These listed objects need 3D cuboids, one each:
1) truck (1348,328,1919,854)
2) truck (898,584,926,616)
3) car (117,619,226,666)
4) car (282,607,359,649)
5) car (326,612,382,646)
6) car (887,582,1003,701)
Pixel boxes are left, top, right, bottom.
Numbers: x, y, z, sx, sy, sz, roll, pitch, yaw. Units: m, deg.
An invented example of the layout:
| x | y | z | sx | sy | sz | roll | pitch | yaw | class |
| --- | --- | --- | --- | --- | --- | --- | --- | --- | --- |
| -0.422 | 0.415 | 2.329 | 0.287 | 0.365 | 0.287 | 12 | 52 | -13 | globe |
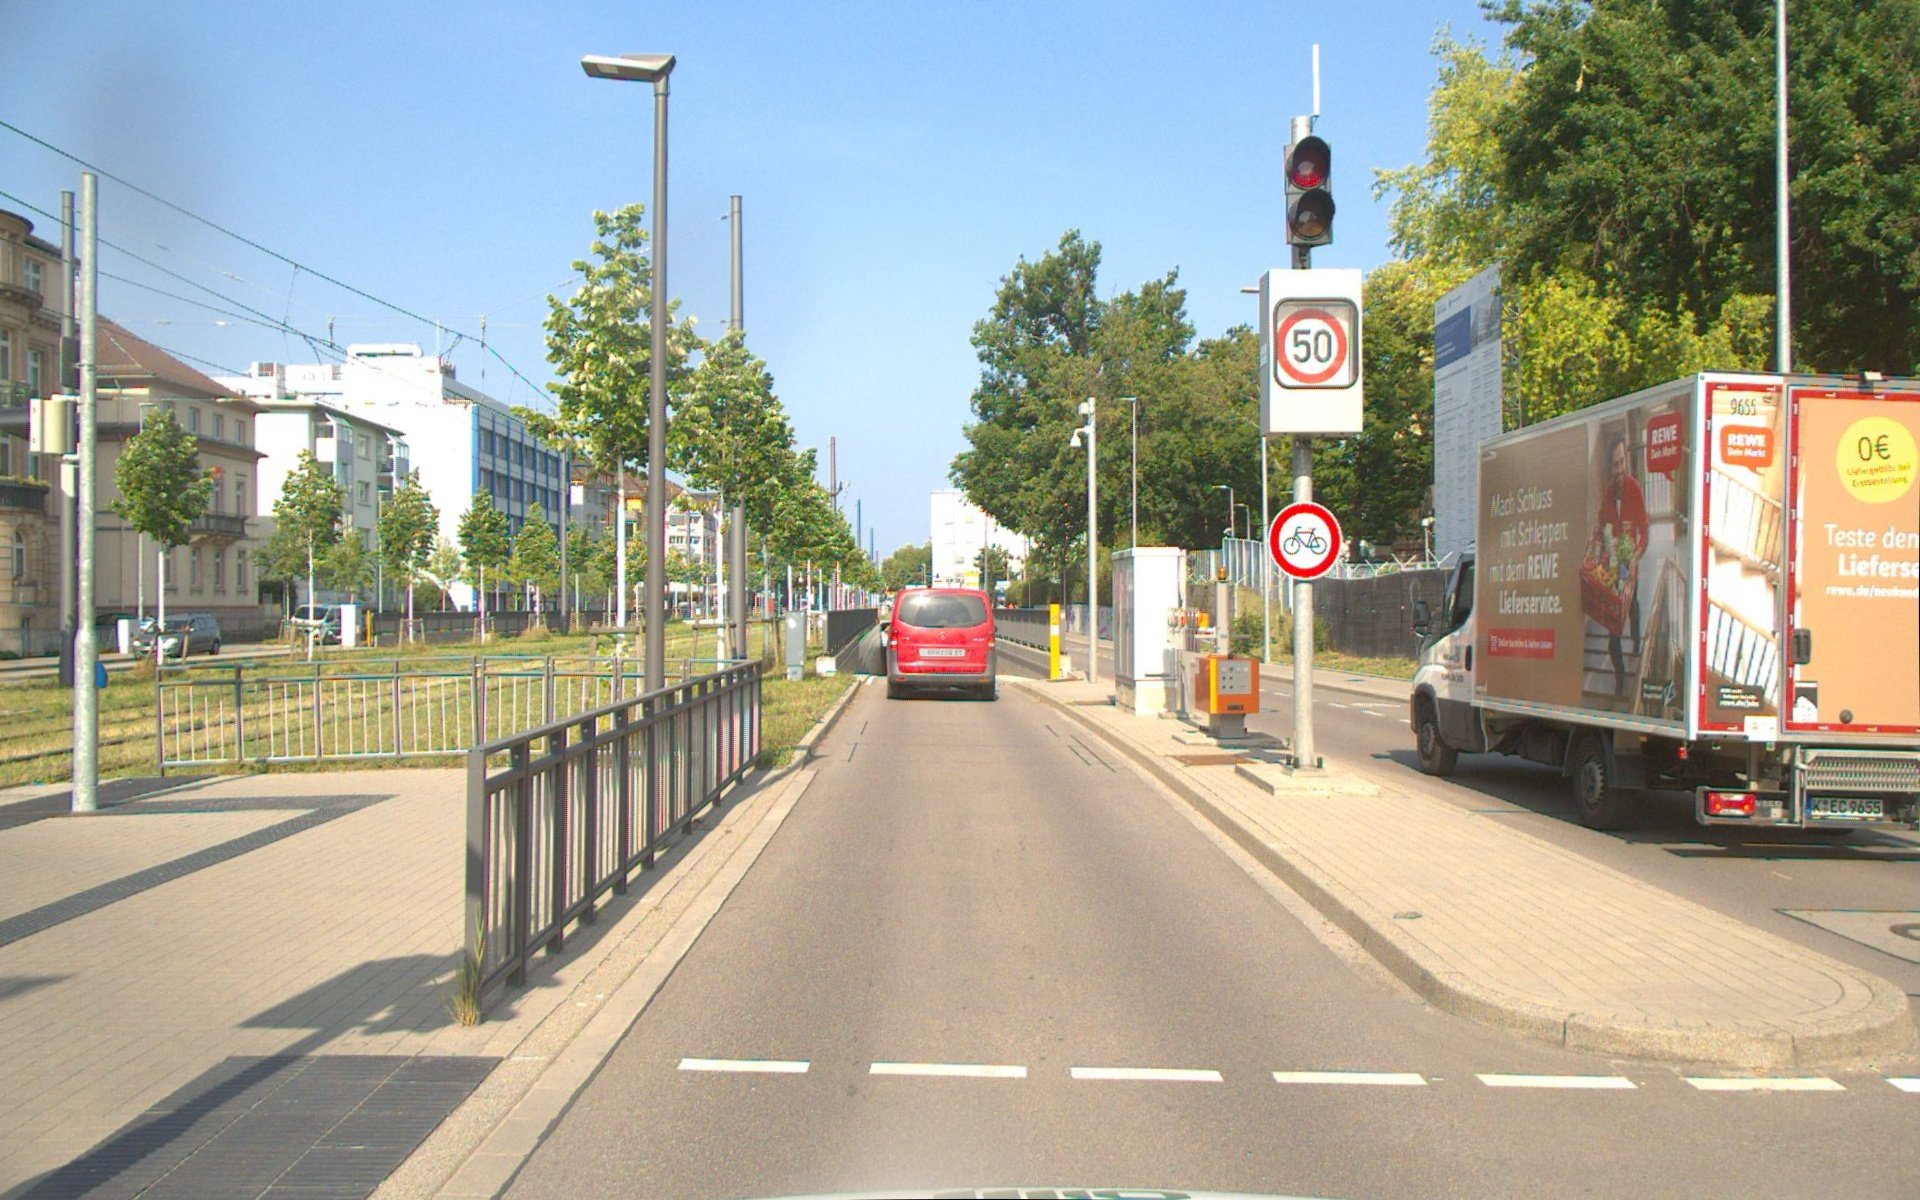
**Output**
| x | y | z | sx | sy | sz | roll | pitch | yaw | class |
| --- | --- | --- | --- | --- | --- | --- | --- | --- | --- |
| 5.574 | 0.029 | 13.866 | 2.452 | 3.114 | 7.815 | 2 | -1 | -2 | truck |
| -5.910 | 0.061 | 203.151 | 3.323 | 3.792 | 10.445 | 0 | -1 | -2 | truck |
| -28.577 | 1.506 | 60.113 | 1.954 | 1.604 | 4.526 | -1 | -1 | -3 | car |
| -33.710 | 1.515 | 87.320 | 2.205 | 2.049 | 5.259 | 2 | -2 | -3 | car |
| -29.206 | 1.398 | 79.829 | 1.488 | 1.489 | 3.822 | -1 | 1 | -3 | car |
| -0.255 | 0.702 | 29.087 | 1.862 | 1.892 | 3.999 | 2 | -1 | 0 | car |
